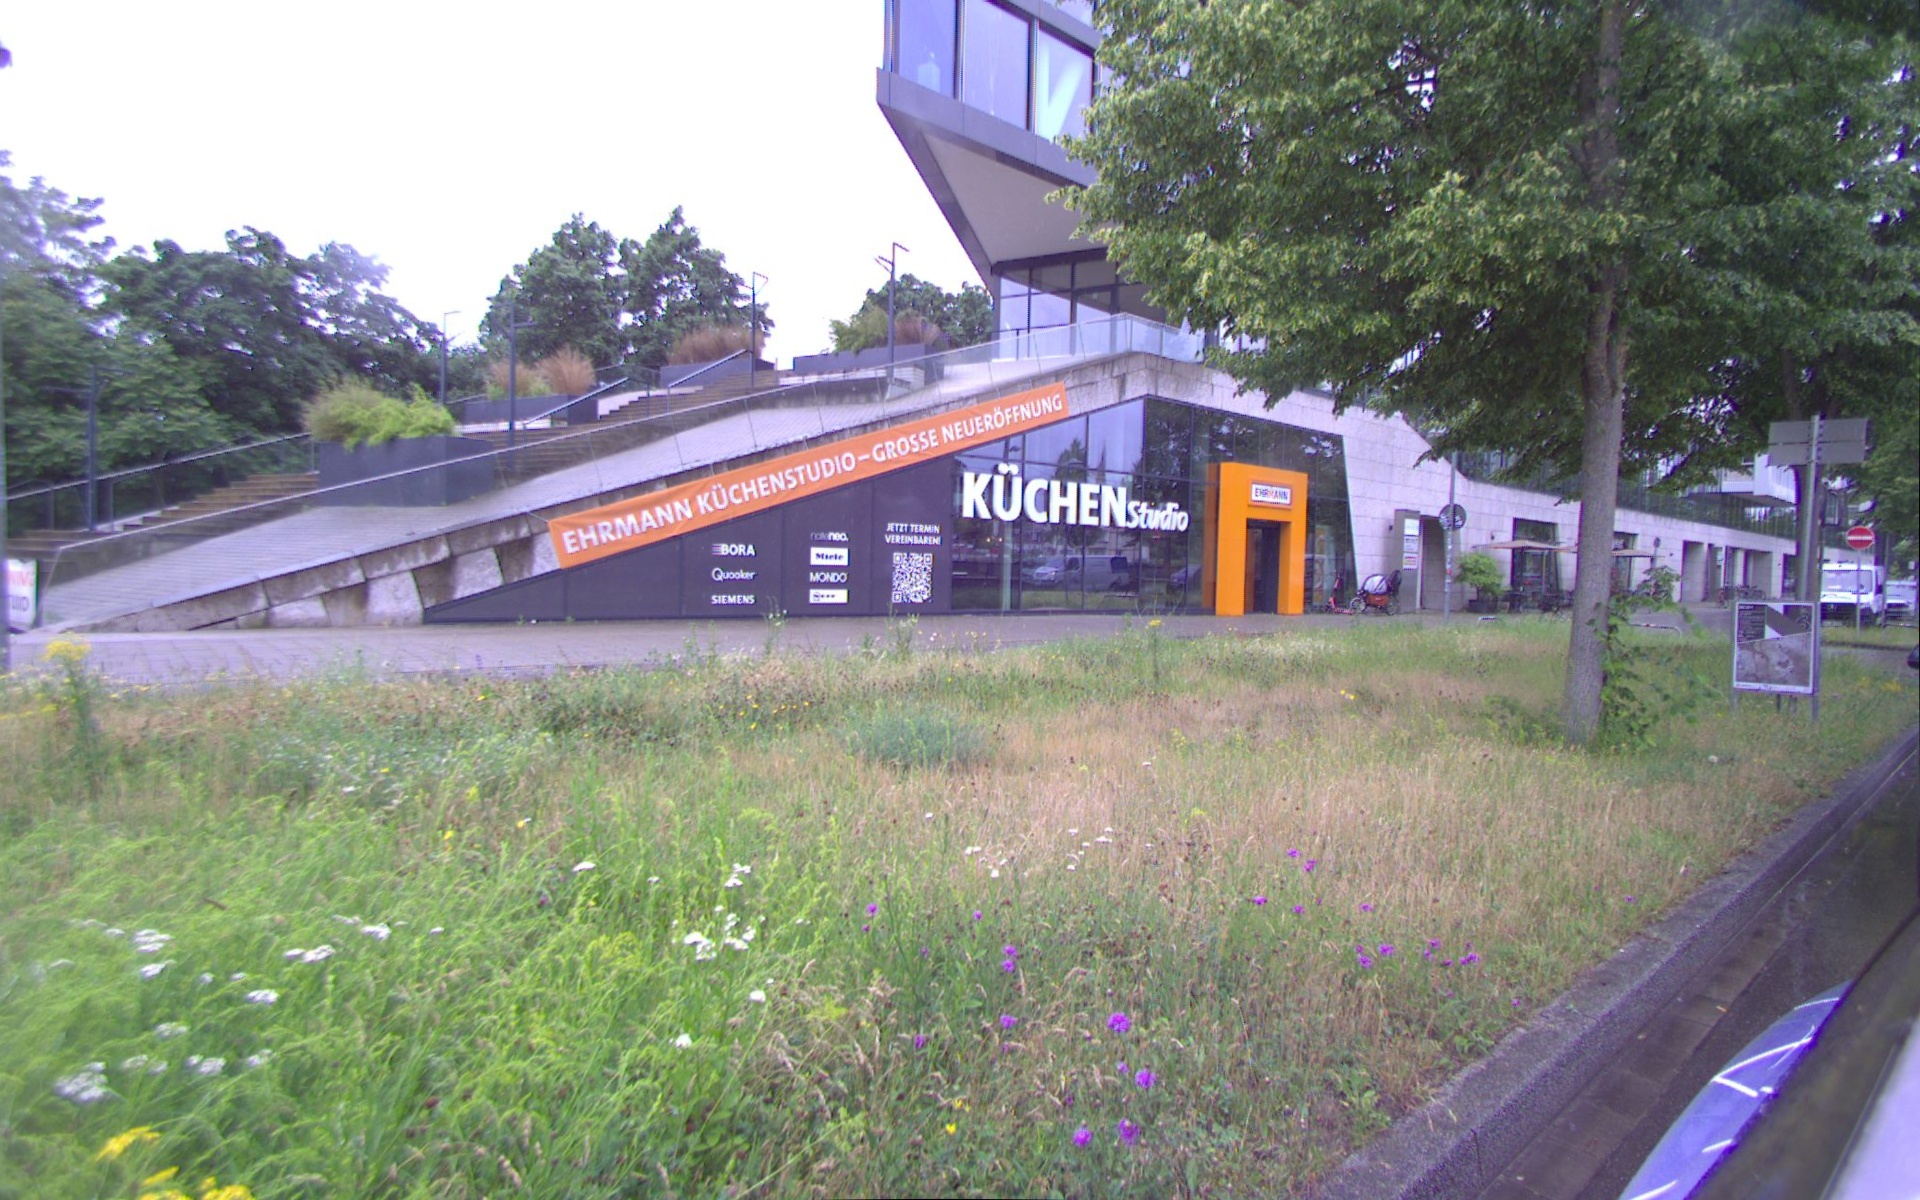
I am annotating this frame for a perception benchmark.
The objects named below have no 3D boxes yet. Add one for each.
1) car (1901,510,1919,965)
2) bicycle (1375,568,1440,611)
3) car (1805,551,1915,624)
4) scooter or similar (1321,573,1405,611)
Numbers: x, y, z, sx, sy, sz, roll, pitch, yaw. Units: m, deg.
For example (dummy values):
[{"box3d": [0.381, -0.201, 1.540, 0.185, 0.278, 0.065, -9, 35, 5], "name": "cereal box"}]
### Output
[{"box3d": [5.951, 0.574, 4.666, 4.306, 1.769, 1.915, 1, -1, -41], "name": "car"}, {"box3d": [14.486, -0.340, 32.737, 2.650, 1.364, 0.882, -1, 0, -41], "name": "bicycle"}, {"box3d": [29.792, -0.409, 33.456, 5.008, 2.229, 2.083, -1, 0, -41], "name": "car"}, {"box3d": [12.333, -0.252, 30.944, 2.560, 1.113, 0.814, 0, 0, -23], "name": "scooter or similar"}]
